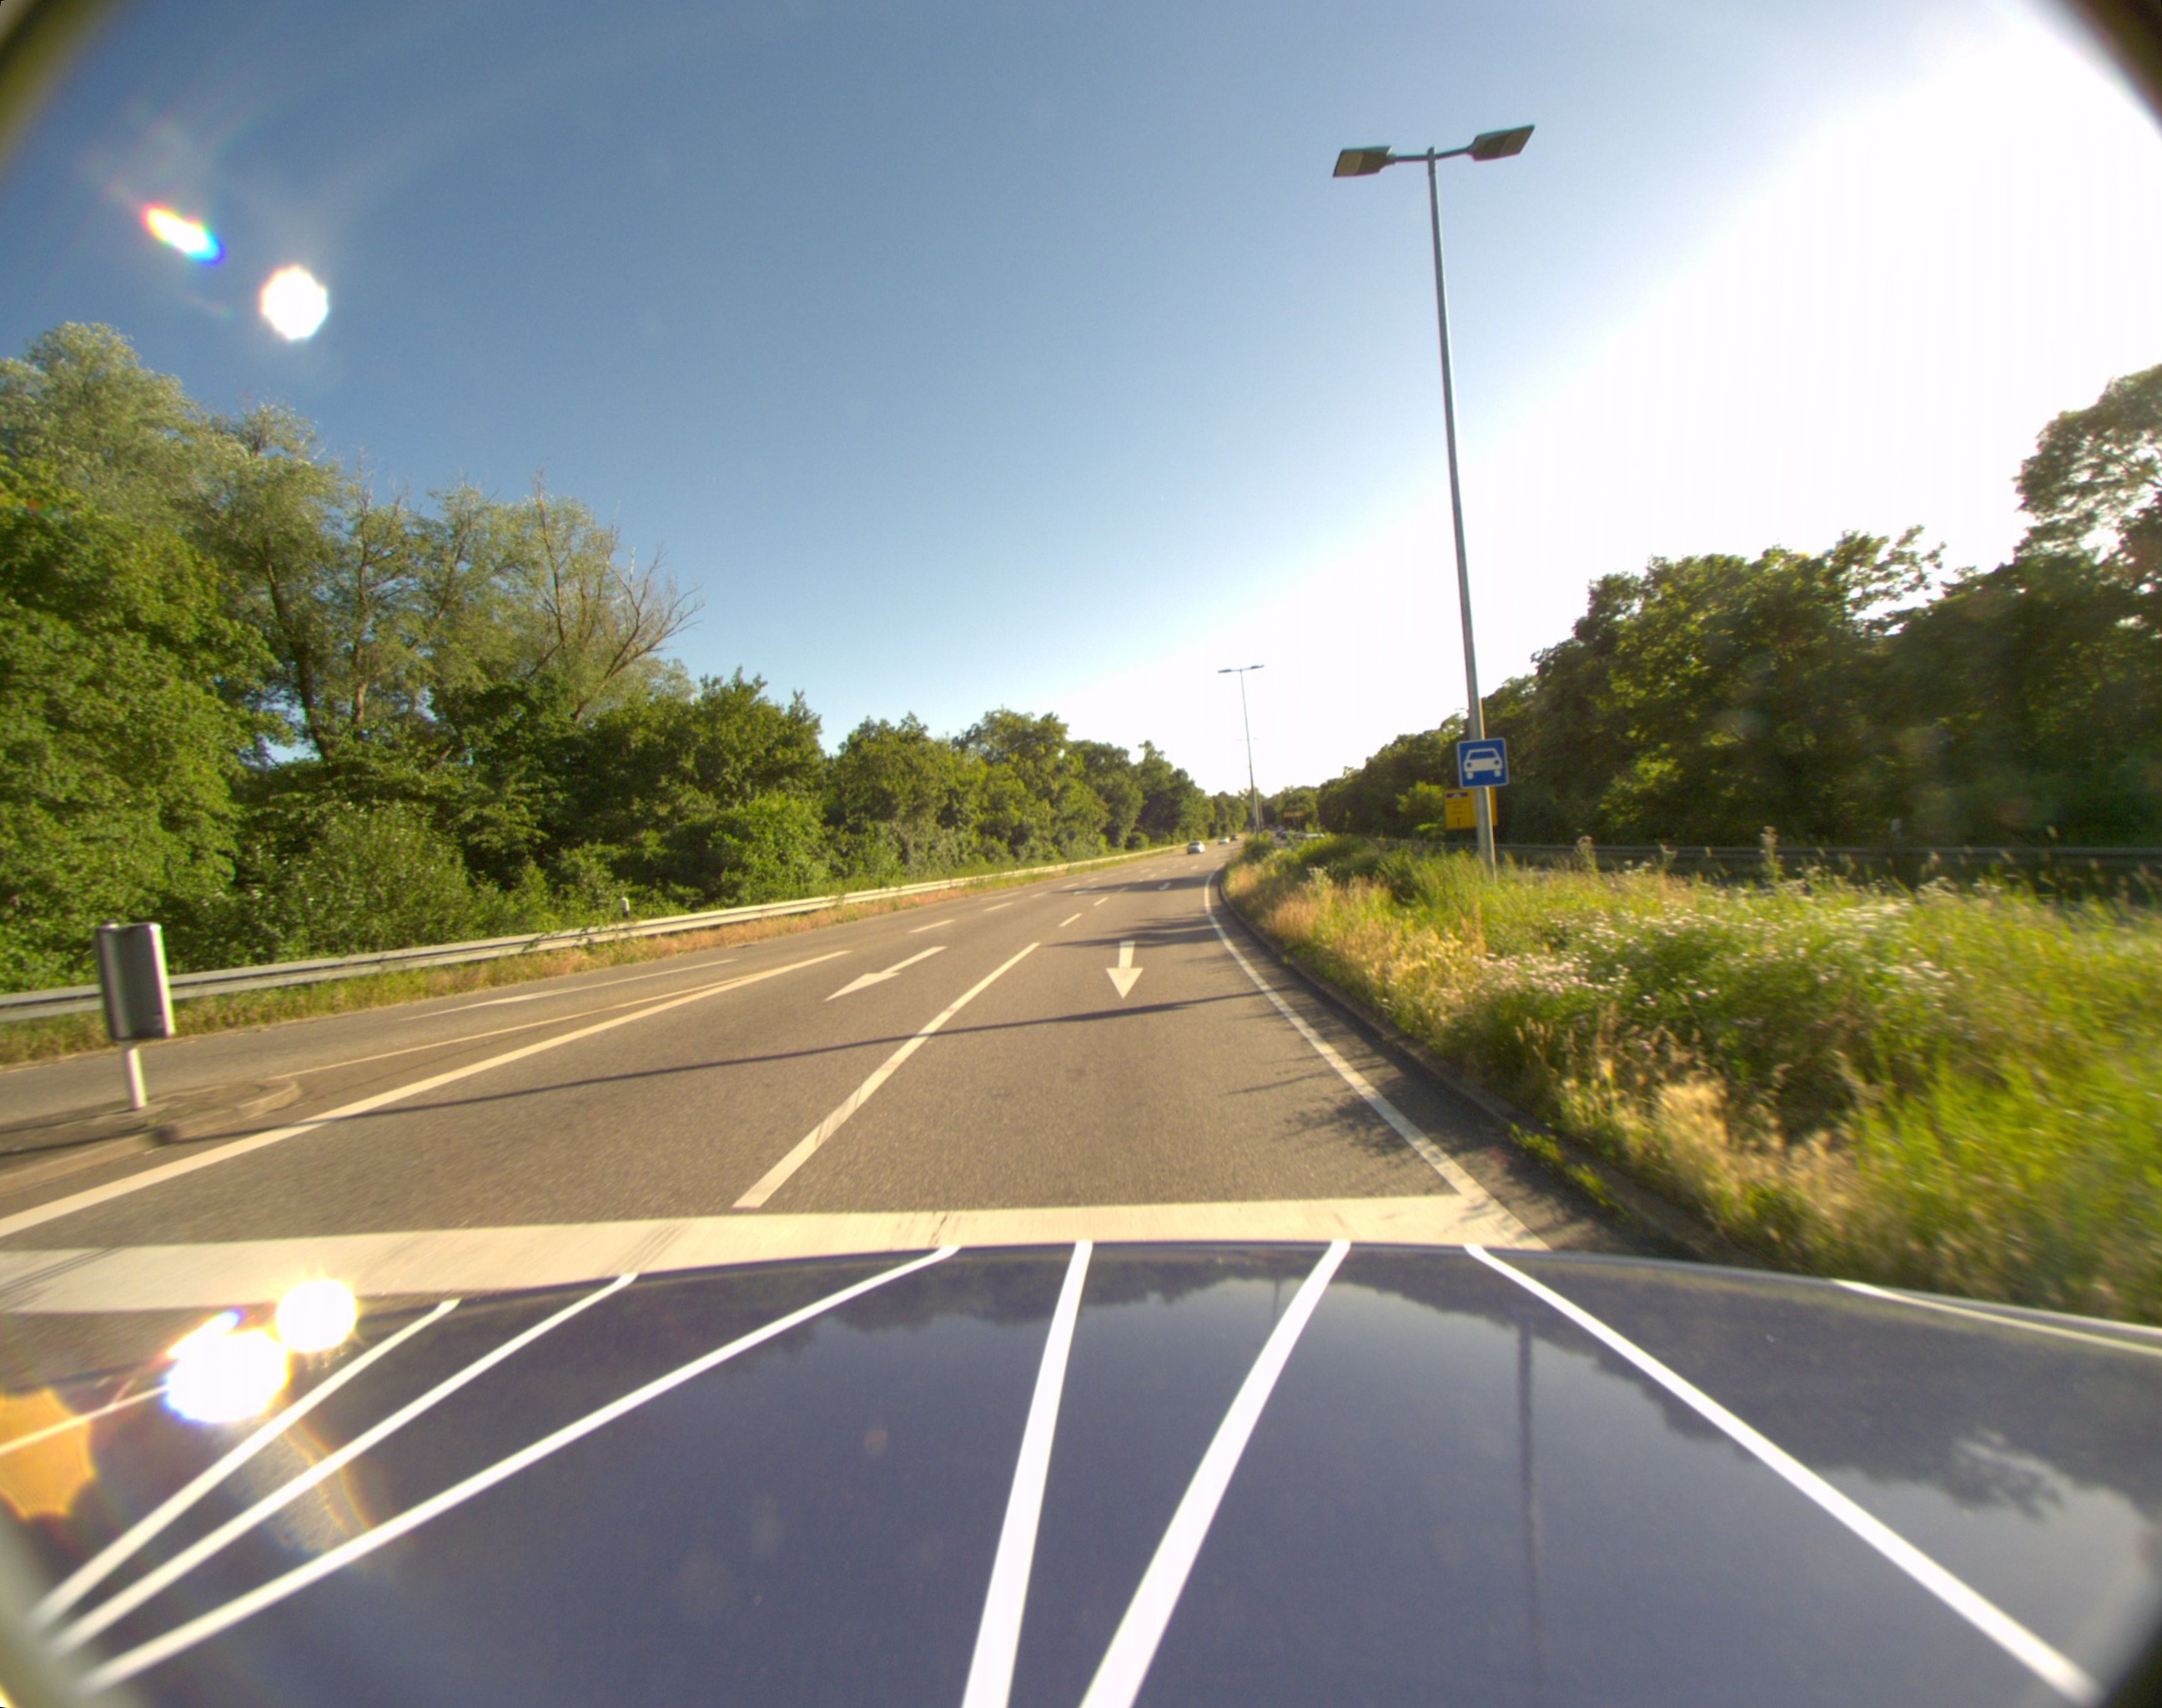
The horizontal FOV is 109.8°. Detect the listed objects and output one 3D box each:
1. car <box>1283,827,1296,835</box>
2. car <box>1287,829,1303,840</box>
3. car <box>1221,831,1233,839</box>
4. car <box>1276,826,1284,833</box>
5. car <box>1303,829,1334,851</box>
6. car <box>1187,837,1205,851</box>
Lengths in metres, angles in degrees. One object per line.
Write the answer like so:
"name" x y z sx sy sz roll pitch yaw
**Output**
"car" 38.062 -4.209 138.791 1.808 1.409 4.534 -3 1 12
"car" 27.395 -2.516 97.426 1.888 1.412 4.368 -2 1 15
"car" 27.745 -3.641 144.372 1.908 1.477 3.347 -4 1 13
"car" 49.444 -6.083 188.864 1.690 1.678 3.625 -4 1 14
"car" 18.490 -1.091 59.330 1.888 1.511 4.220 -3 1 12
"car" 13.375 -1.218 88.285 1.680 1.477 3.393 -4 1 13
